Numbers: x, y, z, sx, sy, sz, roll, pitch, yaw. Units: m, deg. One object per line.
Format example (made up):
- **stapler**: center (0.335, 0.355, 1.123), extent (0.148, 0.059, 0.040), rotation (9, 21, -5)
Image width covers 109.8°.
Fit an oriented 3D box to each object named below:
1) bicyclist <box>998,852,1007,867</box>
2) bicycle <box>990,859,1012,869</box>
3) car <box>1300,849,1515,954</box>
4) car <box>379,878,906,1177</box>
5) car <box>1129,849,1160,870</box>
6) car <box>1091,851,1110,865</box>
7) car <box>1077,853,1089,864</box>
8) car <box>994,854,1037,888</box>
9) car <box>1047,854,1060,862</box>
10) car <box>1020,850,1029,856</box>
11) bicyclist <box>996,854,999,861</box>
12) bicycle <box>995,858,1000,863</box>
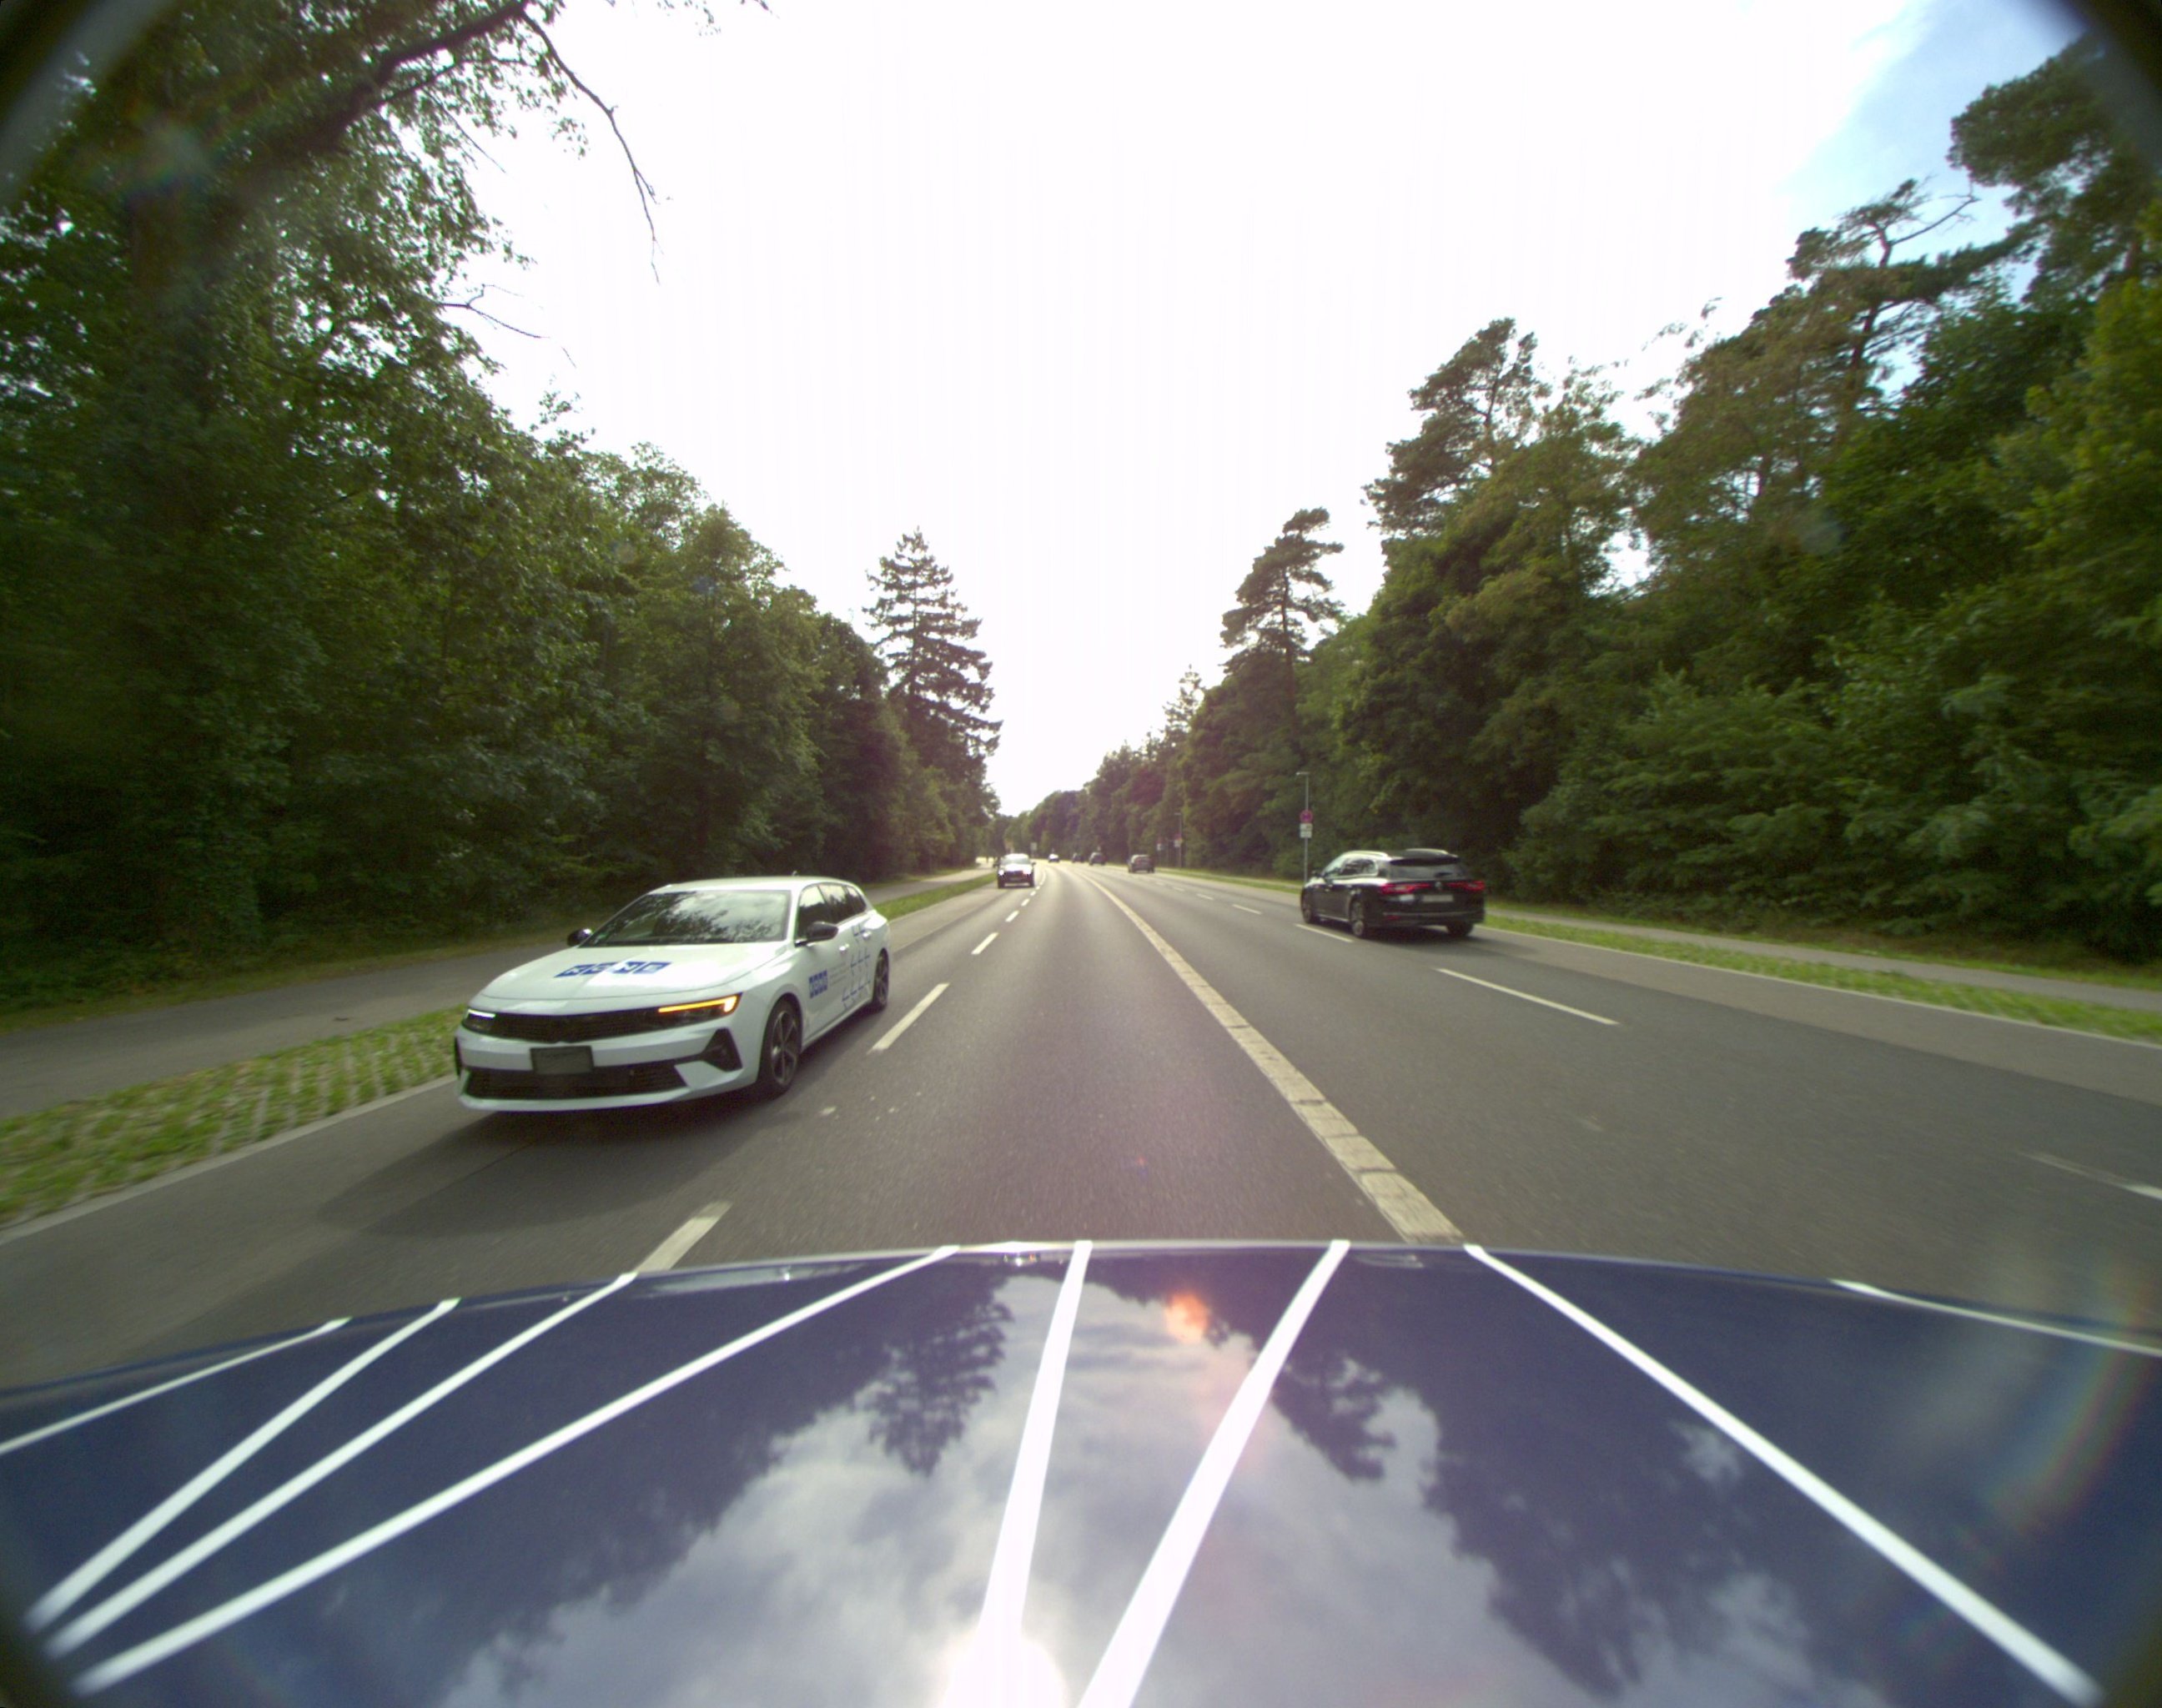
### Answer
- **bicyclist**: center (-8.071, 0.573, 77.866), extent (0.901, 1.462, 0.711), rotation (-1, 1, -3)
- **bicycle**: center (-8.237, 0.997, 77.862), extent (2.180, 0.988, 0.711), rotation (-1, 1, -3)
- **car**: center (5.503, 0.694, 13.529), extent (1.886, 1.434, 4.402), rotation (-3, 1, 0)
- **car**: center (-2.892, 1.013, 6.378), extent (1.841, 1.402, 4.490), rotation (-2, 0, -1)
- **car**: center (5.026, 0.379, 60.822), extent (1.901, 1.475, 4.536), rotation (-2, 2, -2)
- **car**: center (2.673, 0.472, 103.233), extent (1.999, 1.607, 4.661), rotation (-6, 1, -4)
- **car**: center (0.327, 0.780, 129.064), extent (1.928, 1.646, 4.467), rotation (-2, 1, -2)
- **car**: center (-3.369, 0.835, 39.530), extent (1.999, 1.565, 3.998), rotation (-2, 1, -2)
- **car**: center (-5.157, 0.723, 143.119), extent (2.000, 1.427, 4.717), rotation (-2, 1, -8)
- **car**: center (-17.702, -0.450, 239.011), extent (2.001, 1.781, 4.741), rotation (-3, 1, -15)
- **bicyclist**: center (-16.011, 0.688, 145.761), extent (0.522, 1.407, 1.185), rotation (-1, 1, -15)
- **bicycle**: center (-15.972, 1.182, 145.653), extent (0.568, 0.906, 1.752), rotation (1, 0, -15)
